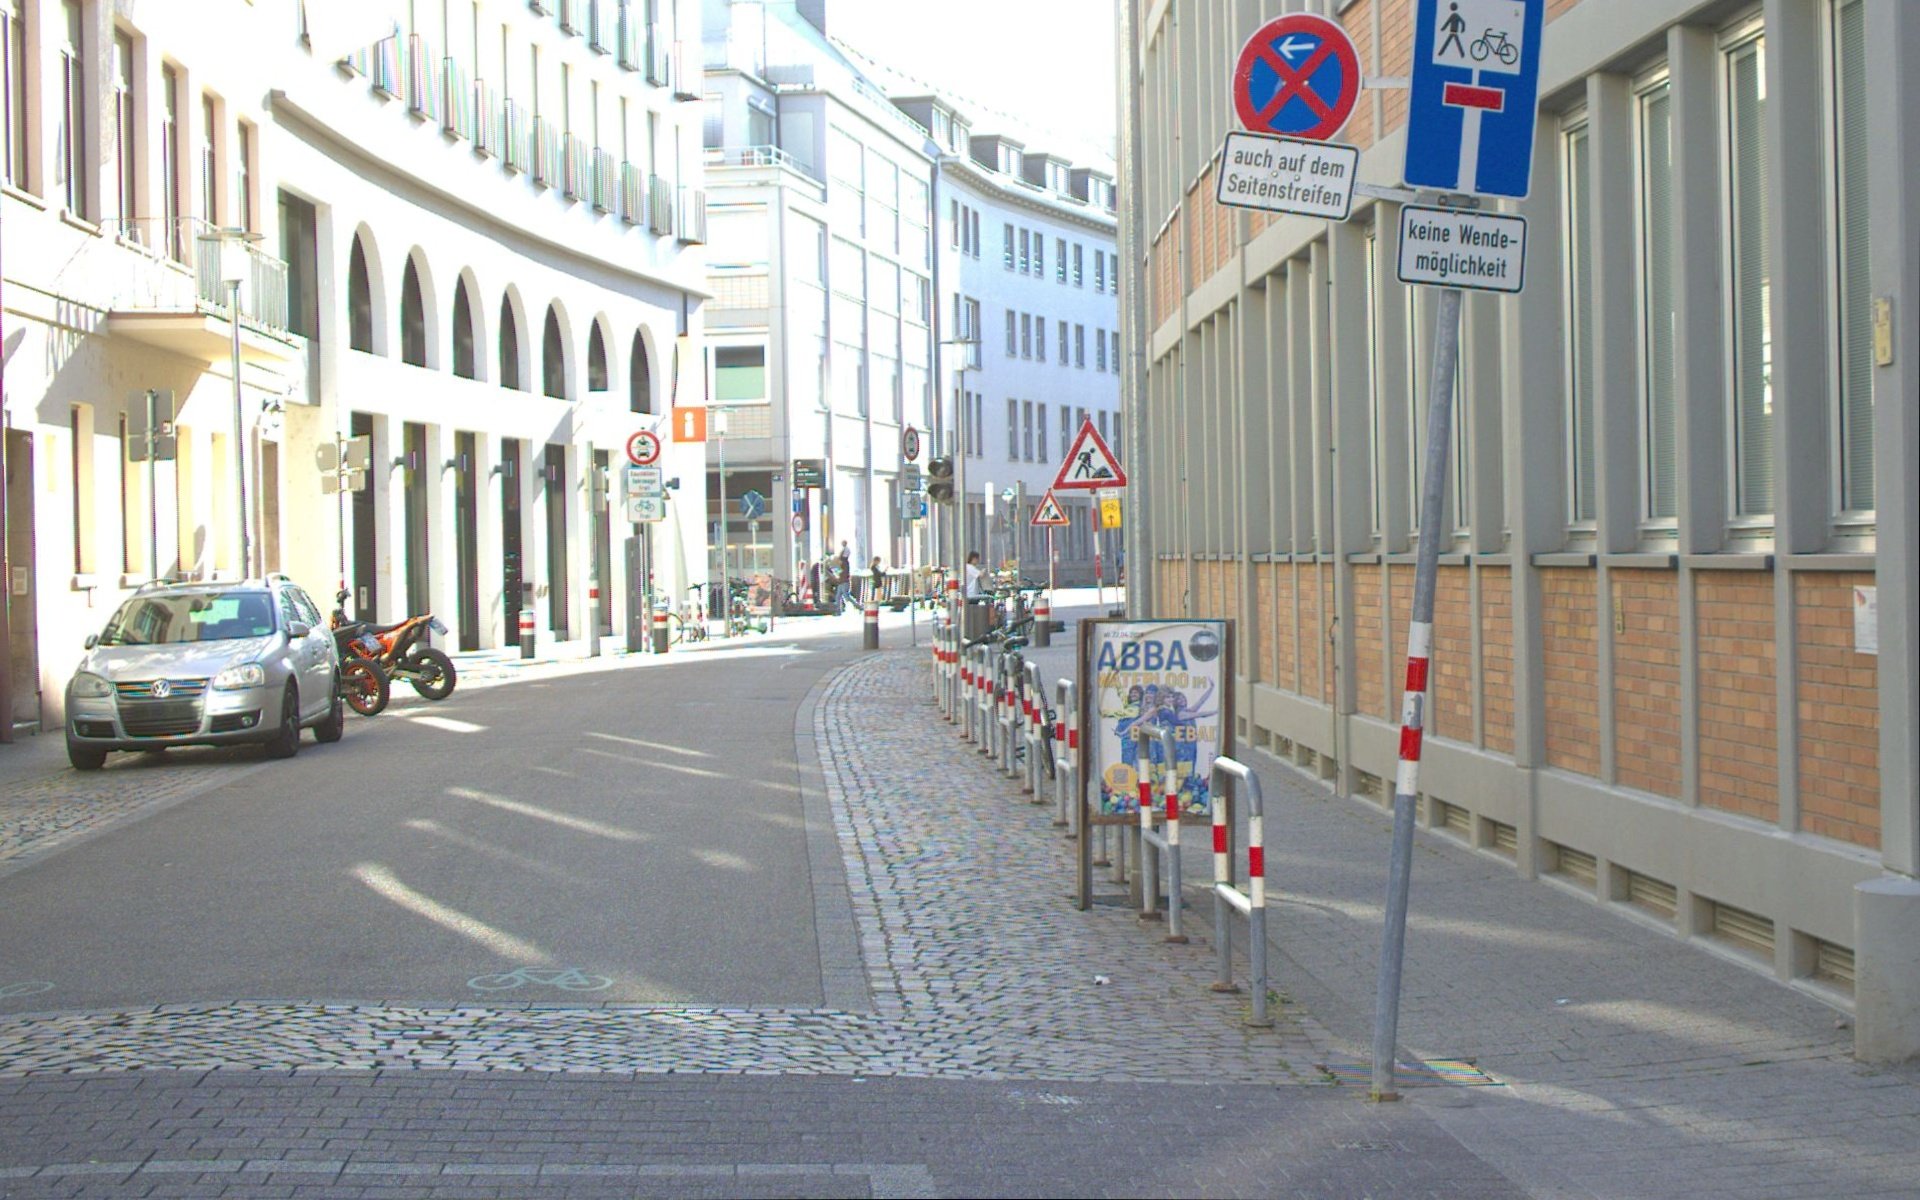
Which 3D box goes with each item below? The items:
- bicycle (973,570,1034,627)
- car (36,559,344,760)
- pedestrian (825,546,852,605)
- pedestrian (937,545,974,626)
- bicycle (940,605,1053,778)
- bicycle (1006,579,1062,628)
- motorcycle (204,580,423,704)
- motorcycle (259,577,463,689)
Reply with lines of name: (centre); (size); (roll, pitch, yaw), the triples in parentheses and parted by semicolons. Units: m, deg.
bicycle: (0.856, -0.041, 66.582); (0.928, 1.044, 3.366); (0, 1, 5)
car: (-6.258, 0.432, 28.338); (1.765, 1.465, 3.813); (-2, 1, -2)
pedestrian: (-3.161, -0.648, 89.390); (0.657, 1.523, 0.482); (-1, 1, 0)
pedestrian: (-0.078, -0.261, 61.853); (0.657, 1.436, 0.596); (0, 1, 0)
bicycle: (0.237, 0.605, 23.712); (0.636, 1.112, 1.931); (0, 1, -4)
bicycle: (1.556, 0.057, 71.436); (0.928, 0.957, 3.366); (0, 1, 5)
motorcycle: (-6.723, 0.442, 35.730); (2.208, 1.241, 0.574); (-1, 1, 18)
motorcycle: (-6.902, 0.383, 39.604); (2.284, 1.241, 0.574); (-1, 1, 18)
